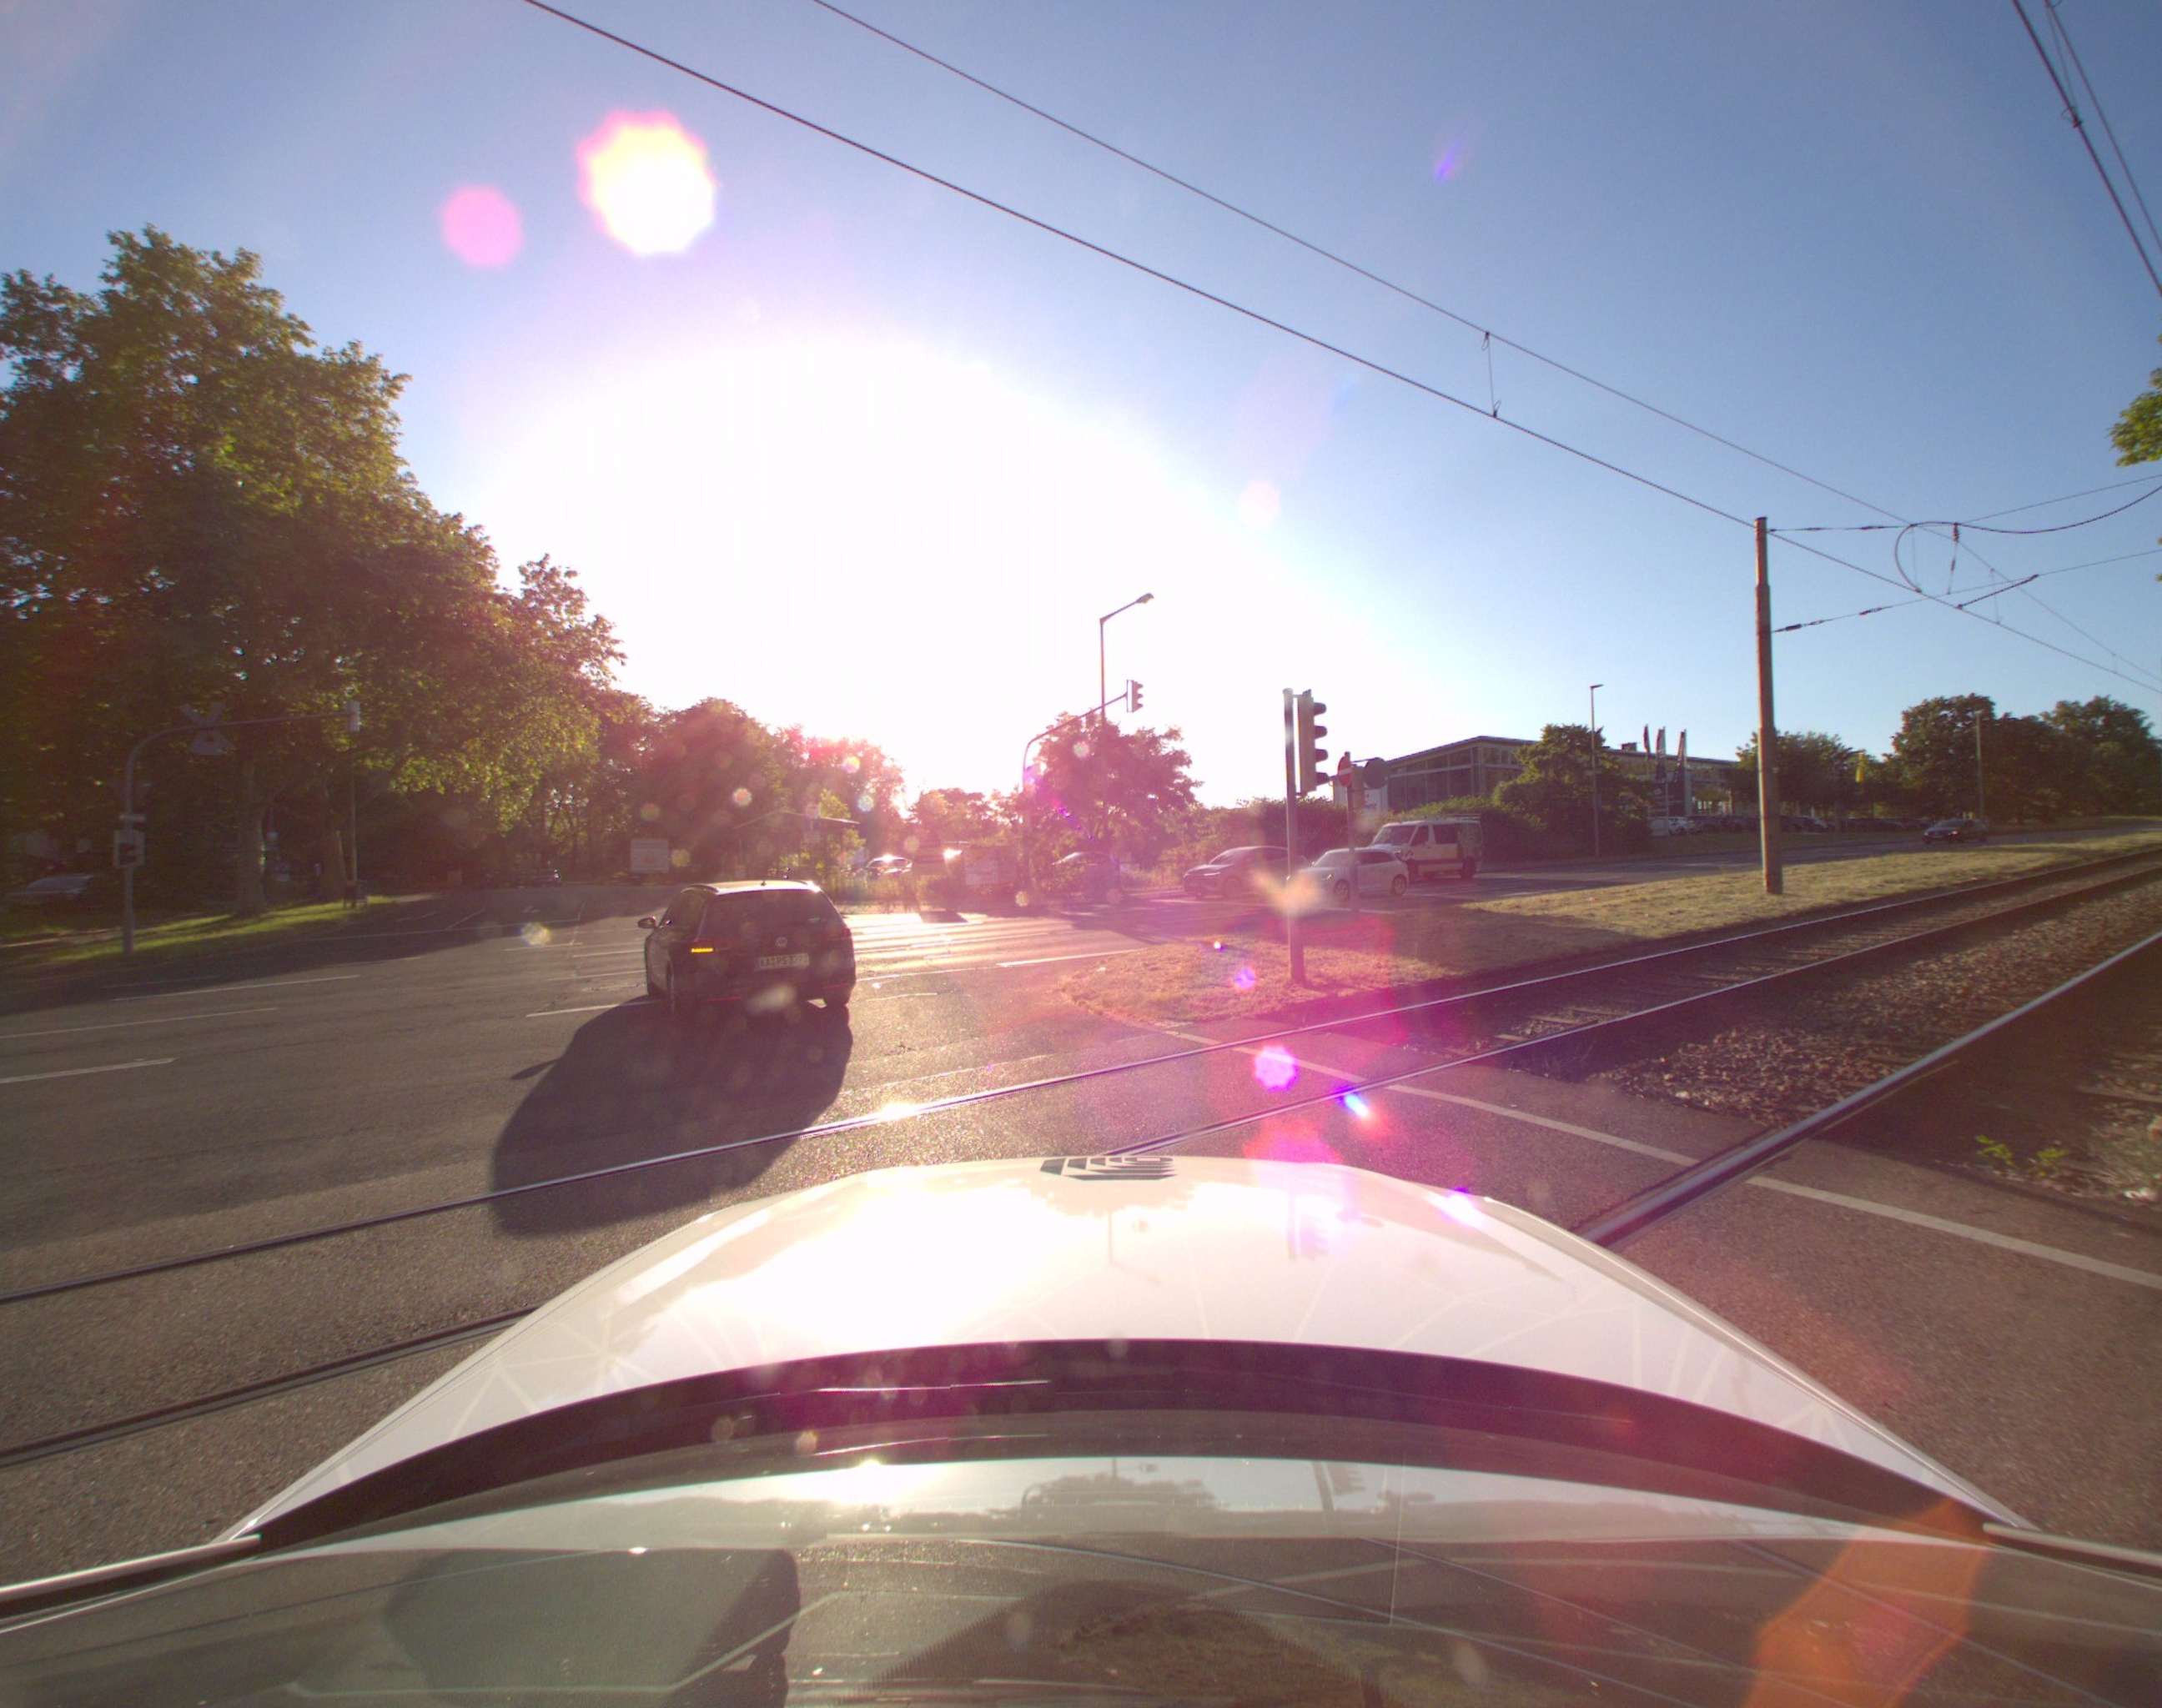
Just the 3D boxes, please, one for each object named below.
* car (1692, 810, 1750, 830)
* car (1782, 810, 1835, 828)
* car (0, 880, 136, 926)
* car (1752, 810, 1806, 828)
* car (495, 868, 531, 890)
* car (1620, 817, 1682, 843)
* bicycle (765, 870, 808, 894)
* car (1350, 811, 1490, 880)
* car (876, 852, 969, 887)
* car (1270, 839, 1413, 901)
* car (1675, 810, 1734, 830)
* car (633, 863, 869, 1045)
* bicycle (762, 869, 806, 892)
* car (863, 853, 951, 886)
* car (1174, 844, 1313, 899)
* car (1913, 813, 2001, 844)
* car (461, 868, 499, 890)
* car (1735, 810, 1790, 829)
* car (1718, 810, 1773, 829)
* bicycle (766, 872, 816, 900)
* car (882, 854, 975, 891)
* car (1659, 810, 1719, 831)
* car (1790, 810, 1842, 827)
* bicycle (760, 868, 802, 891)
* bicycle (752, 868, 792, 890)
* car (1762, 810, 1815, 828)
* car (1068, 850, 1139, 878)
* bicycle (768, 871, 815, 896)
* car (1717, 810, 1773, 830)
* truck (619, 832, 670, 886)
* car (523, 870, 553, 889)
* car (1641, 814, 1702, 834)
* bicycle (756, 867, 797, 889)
[{"bbox_3d":[54.364,-2.887,69.216,3.751,1.567,1.771,-1,1,40],"label":"car"},{"bbox_3d":[70.340,-3.415,78.840,3.751,1.567,1.771,-1,1,40],"label":"car"},{"bbox_3d":[-41.312,1.927,33.345,2.050,1.574,4.360,-2,1,-30],"label":"car"},{"bbox_3d":[64.940,-3.238,75.812,3.751,1.567,1.771,-1,1,40],"label":"car"},{"bbox_3d":[-44.170,1.904,63.380,1.857,1.552,3.963,-2,1,-29],"label":"car"},{"bbox_3d":[43.585,-1.826,62.296,3.751,1.859,1.771,-1,1,40],"label":"car"},{"bbox_3d":[-14.175,1.339,39.215,1.899,1.038,0.539,-2,0,-30],"label":"bicycle"},{"bbox_3d":[13.611,-0.387,32.566,5.894,2.566,1.990,-2,0,-31],"label":"car"},{"bbox_3d":[-8.343,0.787,43.001,4.336,1.648,2.099,-2,1,-32],"label":"car"},{"bbox_3d":[7.802,0.435,24.345,4.012,1.618,1.858,-2,1,-30],"label":"car"},{"bbox_3d":[52.008,-2.811,67.963,3.751,1.567,1.771,-1,1,40],"label":"car"},{"bbox_3d":[-4.079,0.923,9.605,1.837,1.555,4.215,-2,1,-32],"label":"car"},{"bbox_3d":[-14.506,1.278,39.807,1.899,1.038,0.539,-2,0,-30],"label":"bicycle"},{"bbox_3d":[-9.710,0.821,45.419,4.336,1.648,2.099,-2,1,-32],"label":"car"},{"bbox_3d":[5.541,0.559,27.641,4.563,1.618,1.858,-2,1,-32],"label":"car"},{"bbox_3d":[52.415,-1.528,48.754,3.990,1.684,1.807,-2,0,-12],"label":"car"},{"bbox_3d":[-47.220,1.962,64.022,1.857,1.552,3.963,-2,1,-29],"label":"car"},{"bbox_3d":[61.998,-3.142,74.109,3.751,1.567,1.771,-1,1,40],"label":"car"},{"bbox_3d":[59.331,-3.056,72.738,3.751,1.567,1.771,-1,1,40],"label":"car"},{"bbox_3d":[-12.170,1.339,34.215,1.899,1.038,0.539,-2,0,-30],"label":"bicycle"},{"bbox_3d":[-7.519,0.869,40.185,4.014,1.648,2.099,-2,1,-32],"label":"car"},{"bbox_3d":[49.328,-2.720,66.122,3.751,1.567,1.771,-1,1,40],"label":"car"},{"bbox_3d":[72.615,-3.493,80.494,3.751,1.567,1.771,-1,1,40],"label":"car"},{"bbox_3d":[-15.196,1.277,41.259,1.897,1.038,0.539,-2,0,-27],"label":"bicycle"},{"bbox_3d":[-16.552,1.338,43.634,1.897,1.038,0.539,-2,0,-27],"label":"bicycle"},{"bbox_3d":[67.236,-3.317,77.460,3.751,1.567,1.771,-1,1,40],"label":"car"},{"bbox_3d":[1.438,0.605,52.055,4.003,1.636,2.105,-2,1,-22],"label":"car"},{"bbox_3d":[-13.161,1.342,37.051,1.899,1.038,0.539,-2,0,-30],"label":"bicycle"},{"bbox_3d":[57.526,-2.960,70.576,3.751,1.567,1.771,-1,1,40],"label":"car"},{"bbox_3d":[-34.802,0.386,65.097,3.202,3.875,10.999,-2,1,-28],"label":"truck"},{"bbox_3d":[-49.261,2.270,73.966,1.857,1.552,3.963,-2,1,-29],"label":"car"},{"bbox_3d":[46.369,-2.330,63.988,3.751,1.388,1.771,-1,1,40],"label":"car"},{"bbox_3d":[-15.835,1.257,42.367,1.897,1.038,0.539,-2,0,-27],"label":"bicycle"}]
